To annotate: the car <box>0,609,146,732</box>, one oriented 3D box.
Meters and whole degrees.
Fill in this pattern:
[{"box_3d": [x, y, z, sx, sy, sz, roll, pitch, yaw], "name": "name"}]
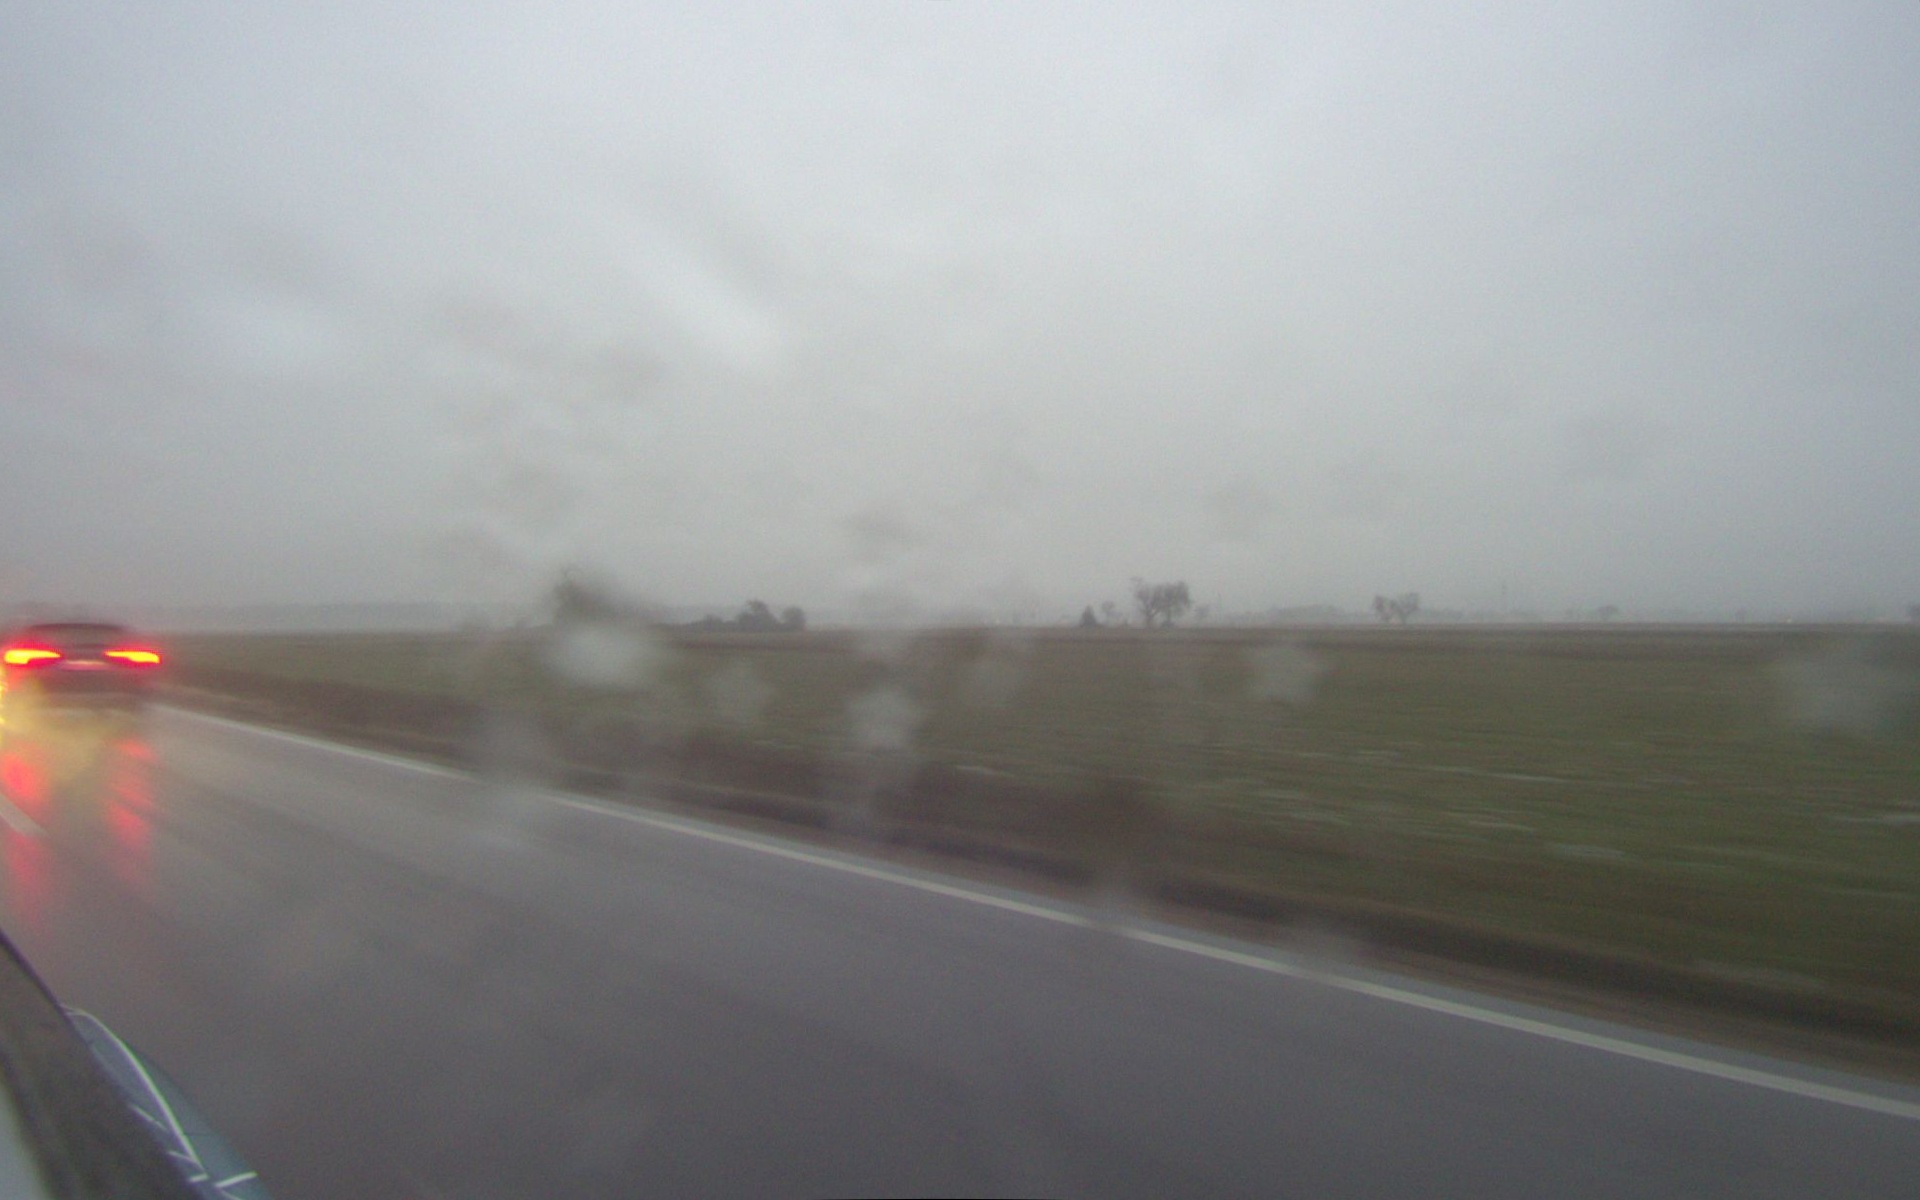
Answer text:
[{"box_3d": [-14.644, 1.033, 16.194, 3.953, 1.734, 1.821, -1, -1, 41], "name": "car"}]
